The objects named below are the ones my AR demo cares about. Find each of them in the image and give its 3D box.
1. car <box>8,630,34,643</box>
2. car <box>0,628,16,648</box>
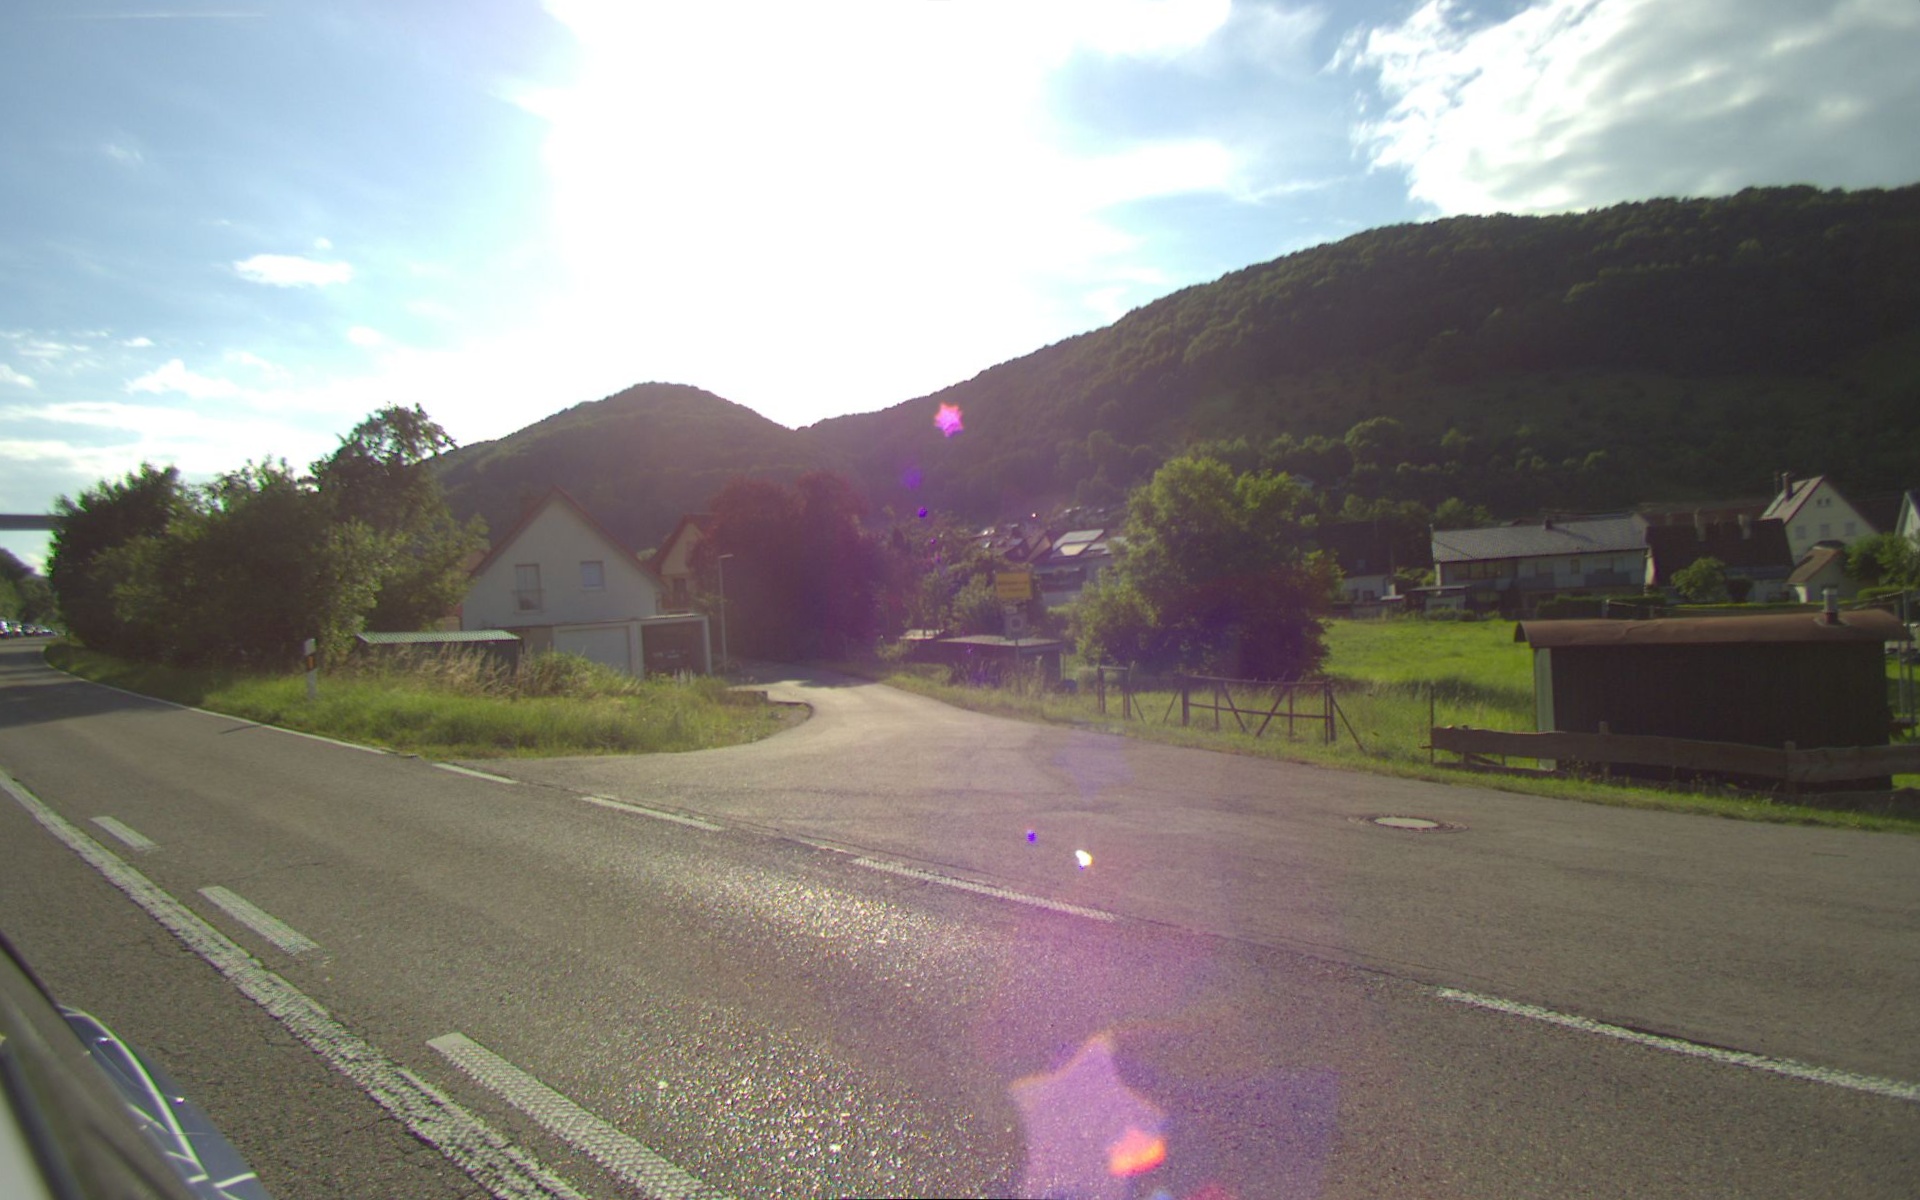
[{"bbox_3d":[-114.403,4.481,123.348,1.813,1.564,4.187,1,-2,-37],"label":"car"},{"bbox_3d":[-81.179,3.224,85.623,1.791,1.630,4.006,1,-2,-41],"label":"car"}]
